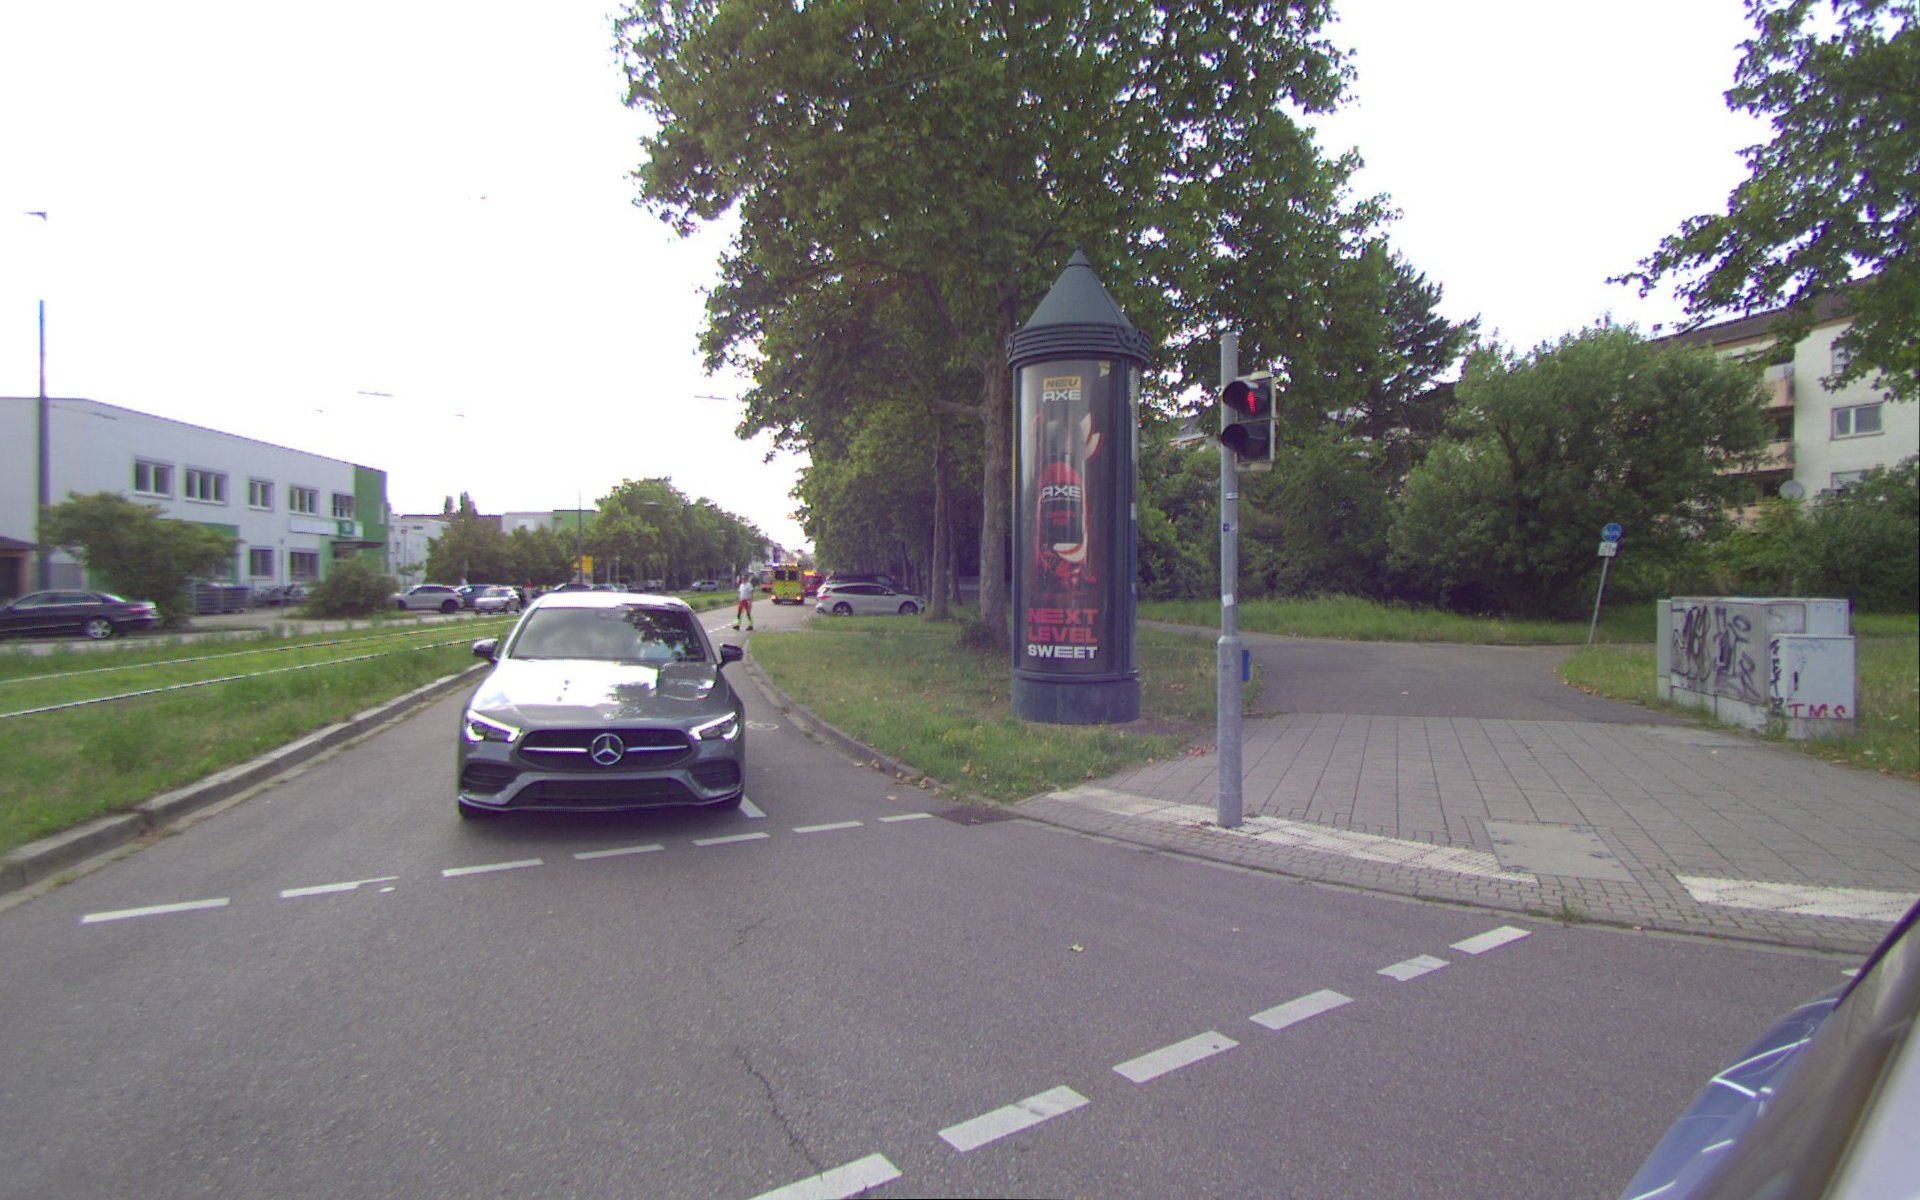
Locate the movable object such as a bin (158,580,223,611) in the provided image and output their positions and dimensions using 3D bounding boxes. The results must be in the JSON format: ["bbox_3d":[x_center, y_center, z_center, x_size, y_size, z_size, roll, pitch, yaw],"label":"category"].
[{"bbox_3d":[-34.244,-0.208,45.097,1.349,1.343,2.119,0,1,-3],"label":"movable object such as a bin"}]

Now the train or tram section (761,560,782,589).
[{"bbox_3d":[-24.481,-3.268,131.017,2.444,3.641,7.437,0,1,-12],"label":"train or tram section"}]

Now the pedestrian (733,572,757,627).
[{"bbox_3d":[-6.759,-0.009,31.776,0.579,1.705,0.492,0,0,15],"label":"pedestrian"}]

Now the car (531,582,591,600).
[{"bbox_3d":[-32.070,-0.715,81.321,4.229,1.381,1.904,-1,1,-30],"label":"car"}]

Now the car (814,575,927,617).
[{"bbox_3d":[-3.682,-0.169,41.127,4.450,1.665,2.003,0,0,-8],"label":"car"}]

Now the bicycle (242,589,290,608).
[{"bbox_3d":[-37.948,-0.083,55.343,2.117,0.982,0.731,0,1,-2],"label":"bicycle"}]

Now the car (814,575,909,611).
[{"bbox_3d":[-4.787,-0.331,48.829,4.450,1.665,2.003,0,0,-8],"label":"car"}]

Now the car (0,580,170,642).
[{"bbox_3d":[-25.560,0.295,28.800,4.486,1.600,2.003,-2,2,-26],"label":"car"}]

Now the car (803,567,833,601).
[{"bbox_3d":[-15.230,-1.691,108.556,2.914,3.359,7.470,2,0,-8],"label":"car"}]

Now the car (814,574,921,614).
[{"bbox_3d":[-4.034,-0.259,43.692,4.450,1.665,2.003,0,0,-8],"label":"car"}]

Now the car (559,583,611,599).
[{"bbox_3d":[-33.897,-0.825,91.483,4.228,1.381,1.904,-1,1,-29],"label":"car"}]

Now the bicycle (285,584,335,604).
[{"bbox_3d":[-37.483,-0.346,58.368,2.345,1.128,0.796,0,1,1],"label":"bicycle"}]

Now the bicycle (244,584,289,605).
[{"bbox_3d":[-36.304,-0.287,52.992,1.760,1.095,0.738,0,1,-8],"label":"bicycle"}]

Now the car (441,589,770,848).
[{"bbox_3d":[-2.836,0.652,8.124,1.802,1.411,4.616,1,1,-20],"label":"car"}]

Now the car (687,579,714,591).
[{"bbox_3d":[-43.352,-2.461,169.127,3.926,1.861,1.821,1,0,-38],"label":"car"}]

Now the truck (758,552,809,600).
[{"bbox_3d":[-13.063,-1.784,75.512,3.130,3.359,7.532,0,1,-6],"label":"truck"}]

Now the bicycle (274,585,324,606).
[{"bbox_3d":[-37.526,-0.280,57.452,2.373,1.180,0.748,0,1,1],"label":"bicycle"}]

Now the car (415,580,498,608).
[{"bbox_3d":[-30.223,-0.382,60.761,4.232,1.649,1.902,0,1,-34],"label":"car"}]

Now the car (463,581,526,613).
[{"bbox_3d":[-24.896,-0.206,54.327,1.863,1.649,4.321,0,1,-7],"label":"car"}]

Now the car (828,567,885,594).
[{"bbox_3d":[-13.825,-2.580,135.175,7.304,3.372,2.981,2,0,-11],"label":"car"}]

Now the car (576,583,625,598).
[{"bbox_3d":[-34.564,-0.883,97.363,4.228,1.381,1.904,-1,1,-29],"label":"car"}]

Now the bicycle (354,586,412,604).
[{"bbox_3d":[-37.163,-0.330,65.236,3.079,1.180,1.144,0,1,-10],"label":"bicycle"}]

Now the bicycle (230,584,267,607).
[{"bbox_3d":[-37.844,-0.241,53.808,1.595,1.180,0.704,0,1,11],"label":"bicycle"}]

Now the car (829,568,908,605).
[{"bbox_3d":[-5.324,-0.784,58.606,4.465,2.039,2.002,0,0,-5],"label":"car"}]

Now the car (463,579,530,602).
[{"bbox_3d":[-31.962,-0.664,69.816,4.086,1.523,1.863,0,1,-29],"label":"car"}]

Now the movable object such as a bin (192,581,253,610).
[{"bbox_3d":[-34.427,-0.226,47.297,1.349,1.343,2.133,0,1,-3],"label":"movable object such as a bin"}]

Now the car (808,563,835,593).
[{"bbox_3d":[-16.603,-2.578,121.178,2.914,3.372,7.470,2,0,-8],"label":"car"}]

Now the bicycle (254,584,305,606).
[{"bbox_3d":[-37.825,-0.286,56.272,2.307,1.180,0.761,0,1,0],"label":"bicycle"}]

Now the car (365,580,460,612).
[{"bbox_3d":[-29.595,-0.227,54.716,4.238,1.649,1.900,-1,1,-40],"label":"car"}]

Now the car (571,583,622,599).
[{"bbox_3d":[-34.048,-0.853,94.811,4.228,1.381,1.904,-1,1,-29],"label":"car"}]

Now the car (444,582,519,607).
[{"bbox_3d":[-30.198,-0.381,63.886,4.090,1.523,1.861,0,1,-34],"label":"car"}]
